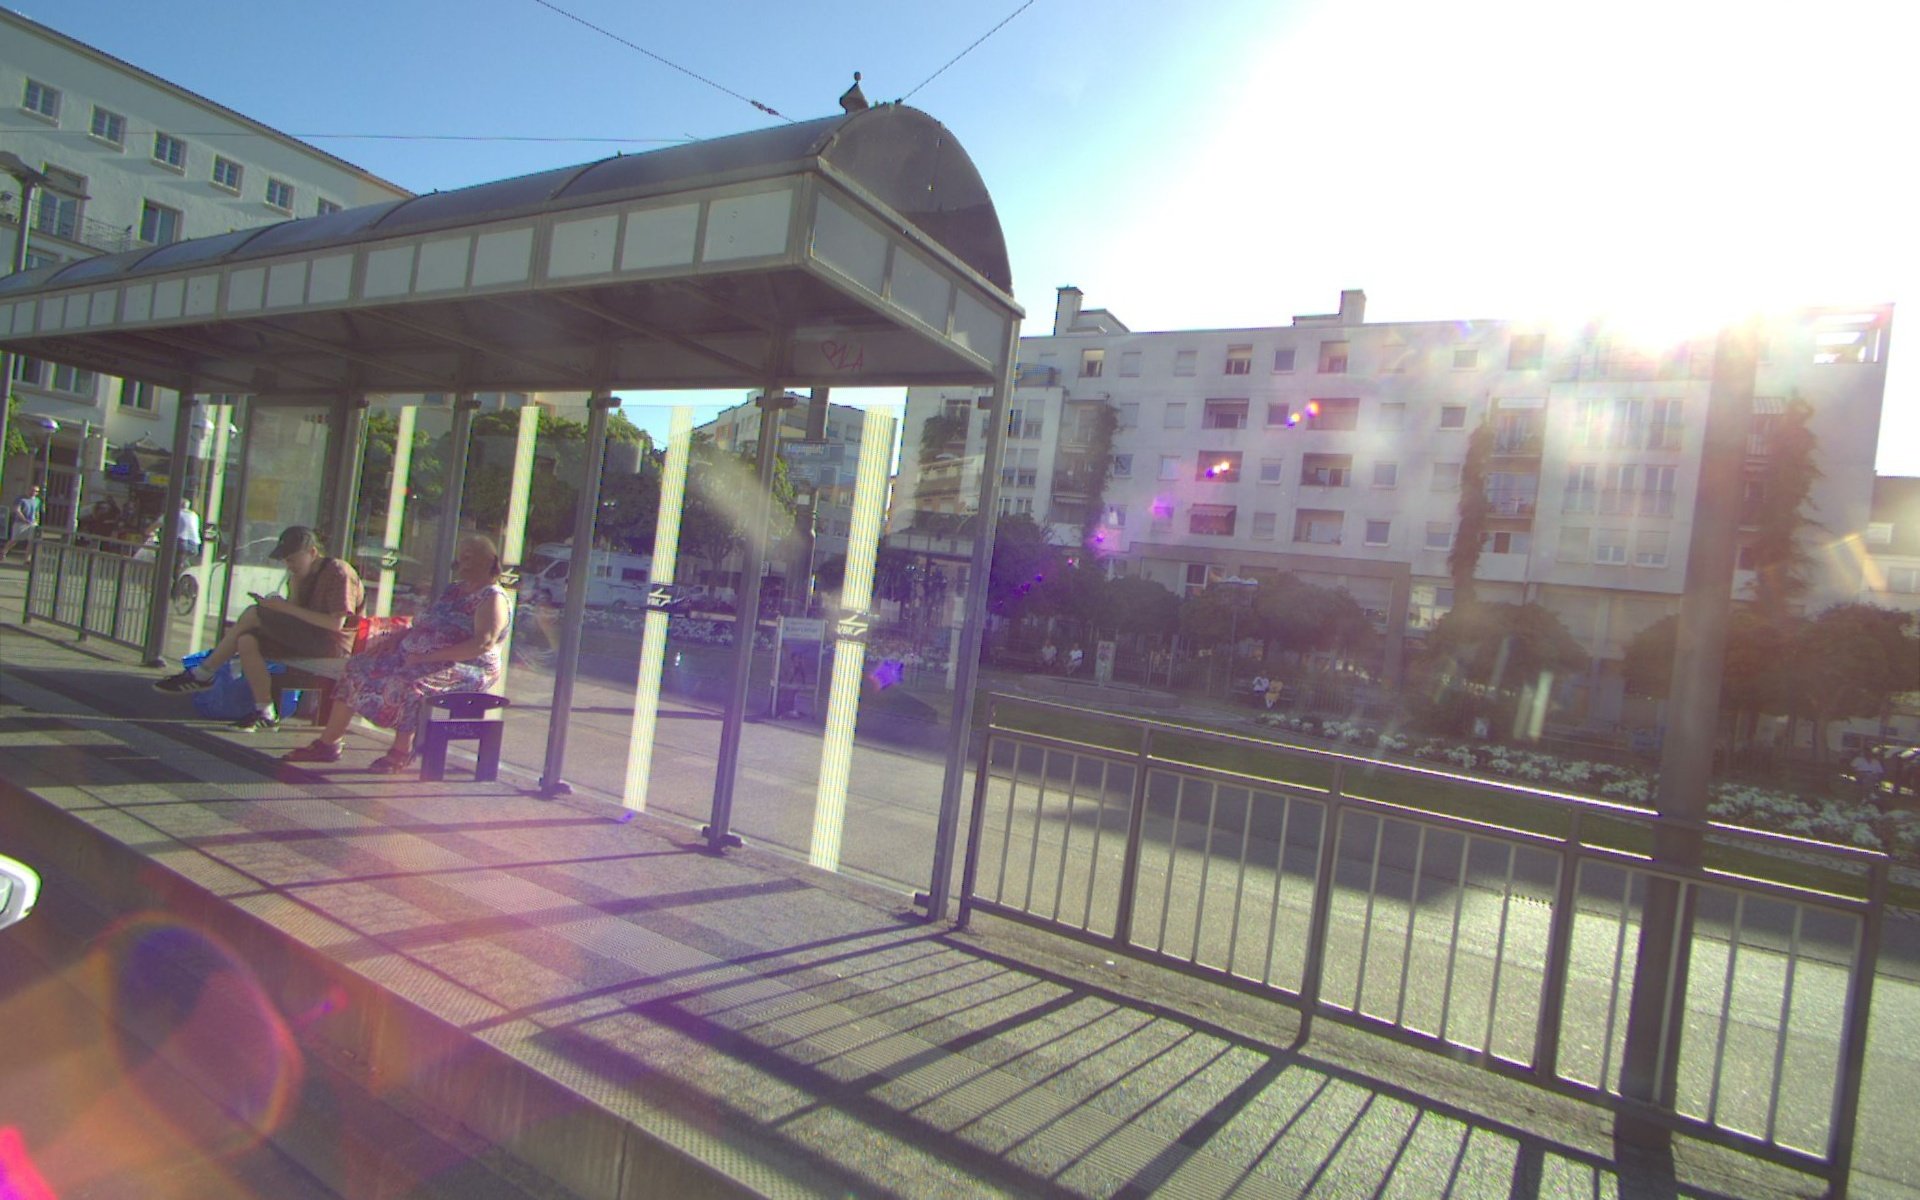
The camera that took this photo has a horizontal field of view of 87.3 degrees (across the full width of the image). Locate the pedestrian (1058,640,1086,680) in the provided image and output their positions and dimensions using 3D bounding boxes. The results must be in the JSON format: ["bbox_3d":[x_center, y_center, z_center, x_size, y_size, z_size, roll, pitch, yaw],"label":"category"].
[{"bbox_3d":[3.900,2.090,34.961,0.718,1.287,1.042,7,0,11],"label":"pedestrian"}]

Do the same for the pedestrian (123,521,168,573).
[{"bbox_3d":[-25.242,-1.641,31.187,0.742,1.427,0.731,11,2,32],"label":"pedestrian"}]

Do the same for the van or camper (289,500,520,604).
[{"bbox_3d":[-20.581,-1.683,37.789,2.331,2.780,7.132,9,0,32],"label":"van or camper"}]

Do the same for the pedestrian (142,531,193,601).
[{"bbox_3d":[-15.125,-0.645,19.200,0.520,1.240,0.557,6,-2,42],"label":"pedestrian"}]

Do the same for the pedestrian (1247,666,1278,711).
[{"bbox_3d":[9.437,2.743,31.393,0.718,1.287,0.745,7,0,11],"label":"pedestrian"}]

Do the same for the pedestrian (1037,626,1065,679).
[{"bbox_3d":[3.168,1.843,35.095,0.661,1.745,1.028,7,0,11],"label":"pedestrian"}]

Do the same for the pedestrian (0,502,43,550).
[{"bbox_3d":[-28.275,-2.221,30.320,0.736,1.332,0.622,7,0,-35],"label":"pedestrian"}]

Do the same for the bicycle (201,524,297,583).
[{"bbox_3d":[-23.701,-1.539,33.588,0.714,1.548,2.391,7,-3,31],"label":"bicycle"}]

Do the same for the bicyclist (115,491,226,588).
[{"bbox_3d":[-11.802,-0.904,15.053,0.919,1.239,0.952,7,-2,35],"label":"bicyclist"}]

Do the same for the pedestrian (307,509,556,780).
[{"bbox_3d":[-2.911,0.266,5.596,0.613,1.348,0.861,6,-4,31],"label":"pedestrian"}]

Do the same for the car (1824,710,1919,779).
[{"bbox_3d":[43.308,6.711,45.061,6.287,2.585,2.812,7,-1,29],"label":"car"}]

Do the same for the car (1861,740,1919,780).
[{"bbox_3d":[39.430,6.702,40.890,3.941,1.303,1.993,7,-1,38],"label":"car"}]

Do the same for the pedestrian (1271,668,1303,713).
[{"bbox_3d":[10.136,2.806,31.243,0.718,1.287,0.745,7,0,11],"label":"pedestrian"}]

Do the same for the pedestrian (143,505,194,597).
[{"bbox_3d":[-15.897,-0.988,20.199,0.520,1.765,0.557,6,-1,42],"label":"pedestrian"}]

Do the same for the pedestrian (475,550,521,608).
[{"bbox_3d":[-13.953,-0.629,30.400,0.651,1.604,0.902,7,0,35],"label":"pedestrian"}]

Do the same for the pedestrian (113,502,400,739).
[{"bbox_3d":[-4.238,0.144,6.105,0.908,1.238,1.001,6,-4,32],"label":"pedestrian"}]

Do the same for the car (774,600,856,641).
[{"bbox_3d":[-6.886,0.997,48.032,1.964,1.503,4.000,7,-1,23],"label":"car"}]

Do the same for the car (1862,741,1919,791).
[{"bbox_3d":[35.954,6.316,36.941,3.941,1.535,1.993,7,-1,38],"label":"car"}]

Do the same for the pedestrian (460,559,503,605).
[{"bbox_3d":[-14.668,-0.543,30.841,0.595,1.295,0.901,7,0,38],"label":"pedestrian"}]

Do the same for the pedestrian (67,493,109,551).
[{"bbox_3d":[-29.667,-2.654,34.240,0.667,1.861,0.785,7,0,35],"label":"pedestrian"}]

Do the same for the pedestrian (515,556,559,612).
[{"bbox_3d":[-13.155,-0.487,31.269,0.651,1.604,0.902,7,0,35],"label":"pedestrian"}]

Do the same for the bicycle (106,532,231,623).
[{"bbox_3d":[-11.821,-0.347,14.996,2.286,1.073,0.719,7,-2,35],"label":"bicycle"}]

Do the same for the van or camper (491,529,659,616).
[{"bbox_3d":[-16.663,-1.115,43.936,2.340,2.873,6.410,7,-1,35],"label":"van or camper"}]

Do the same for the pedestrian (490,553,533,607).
[{"bbox_3d":[-14.481,-0.634,32.477,0.651,1.604,0.902,7,0,35],"label":"pedestrian"}]

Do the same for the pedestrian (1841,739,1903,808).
[{"bbox_3d":[21.568,4.087,23.823,0.923,1.428,1.521,7,-1,42],"label":"pedestrian"}]

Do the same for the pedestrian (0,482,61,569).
[{"bbox_3d":[-22.433,-1.785,24.034,1.110,1.900,0.983,6,-1,29],"label":"pedestrian"}]

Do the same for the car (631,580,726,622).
[{"bbox_3d":[-13.887,0.065,49.779,1.974,1.529,3.982,6,-3,43],"label":"car"}]

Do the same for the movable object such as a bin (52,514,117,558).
[{"bbox_3d":[-28.269,-2.058,32.483,1.197,1.167,1.200,7,-1,32],"label":"movable object such as a bin"}]

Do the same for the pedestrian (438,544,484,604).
[{"bbox_3d":[-15.420,-0.810,31.109,0.684,1.705,0.902,7,0,35],"label":"pedestrian"}]
